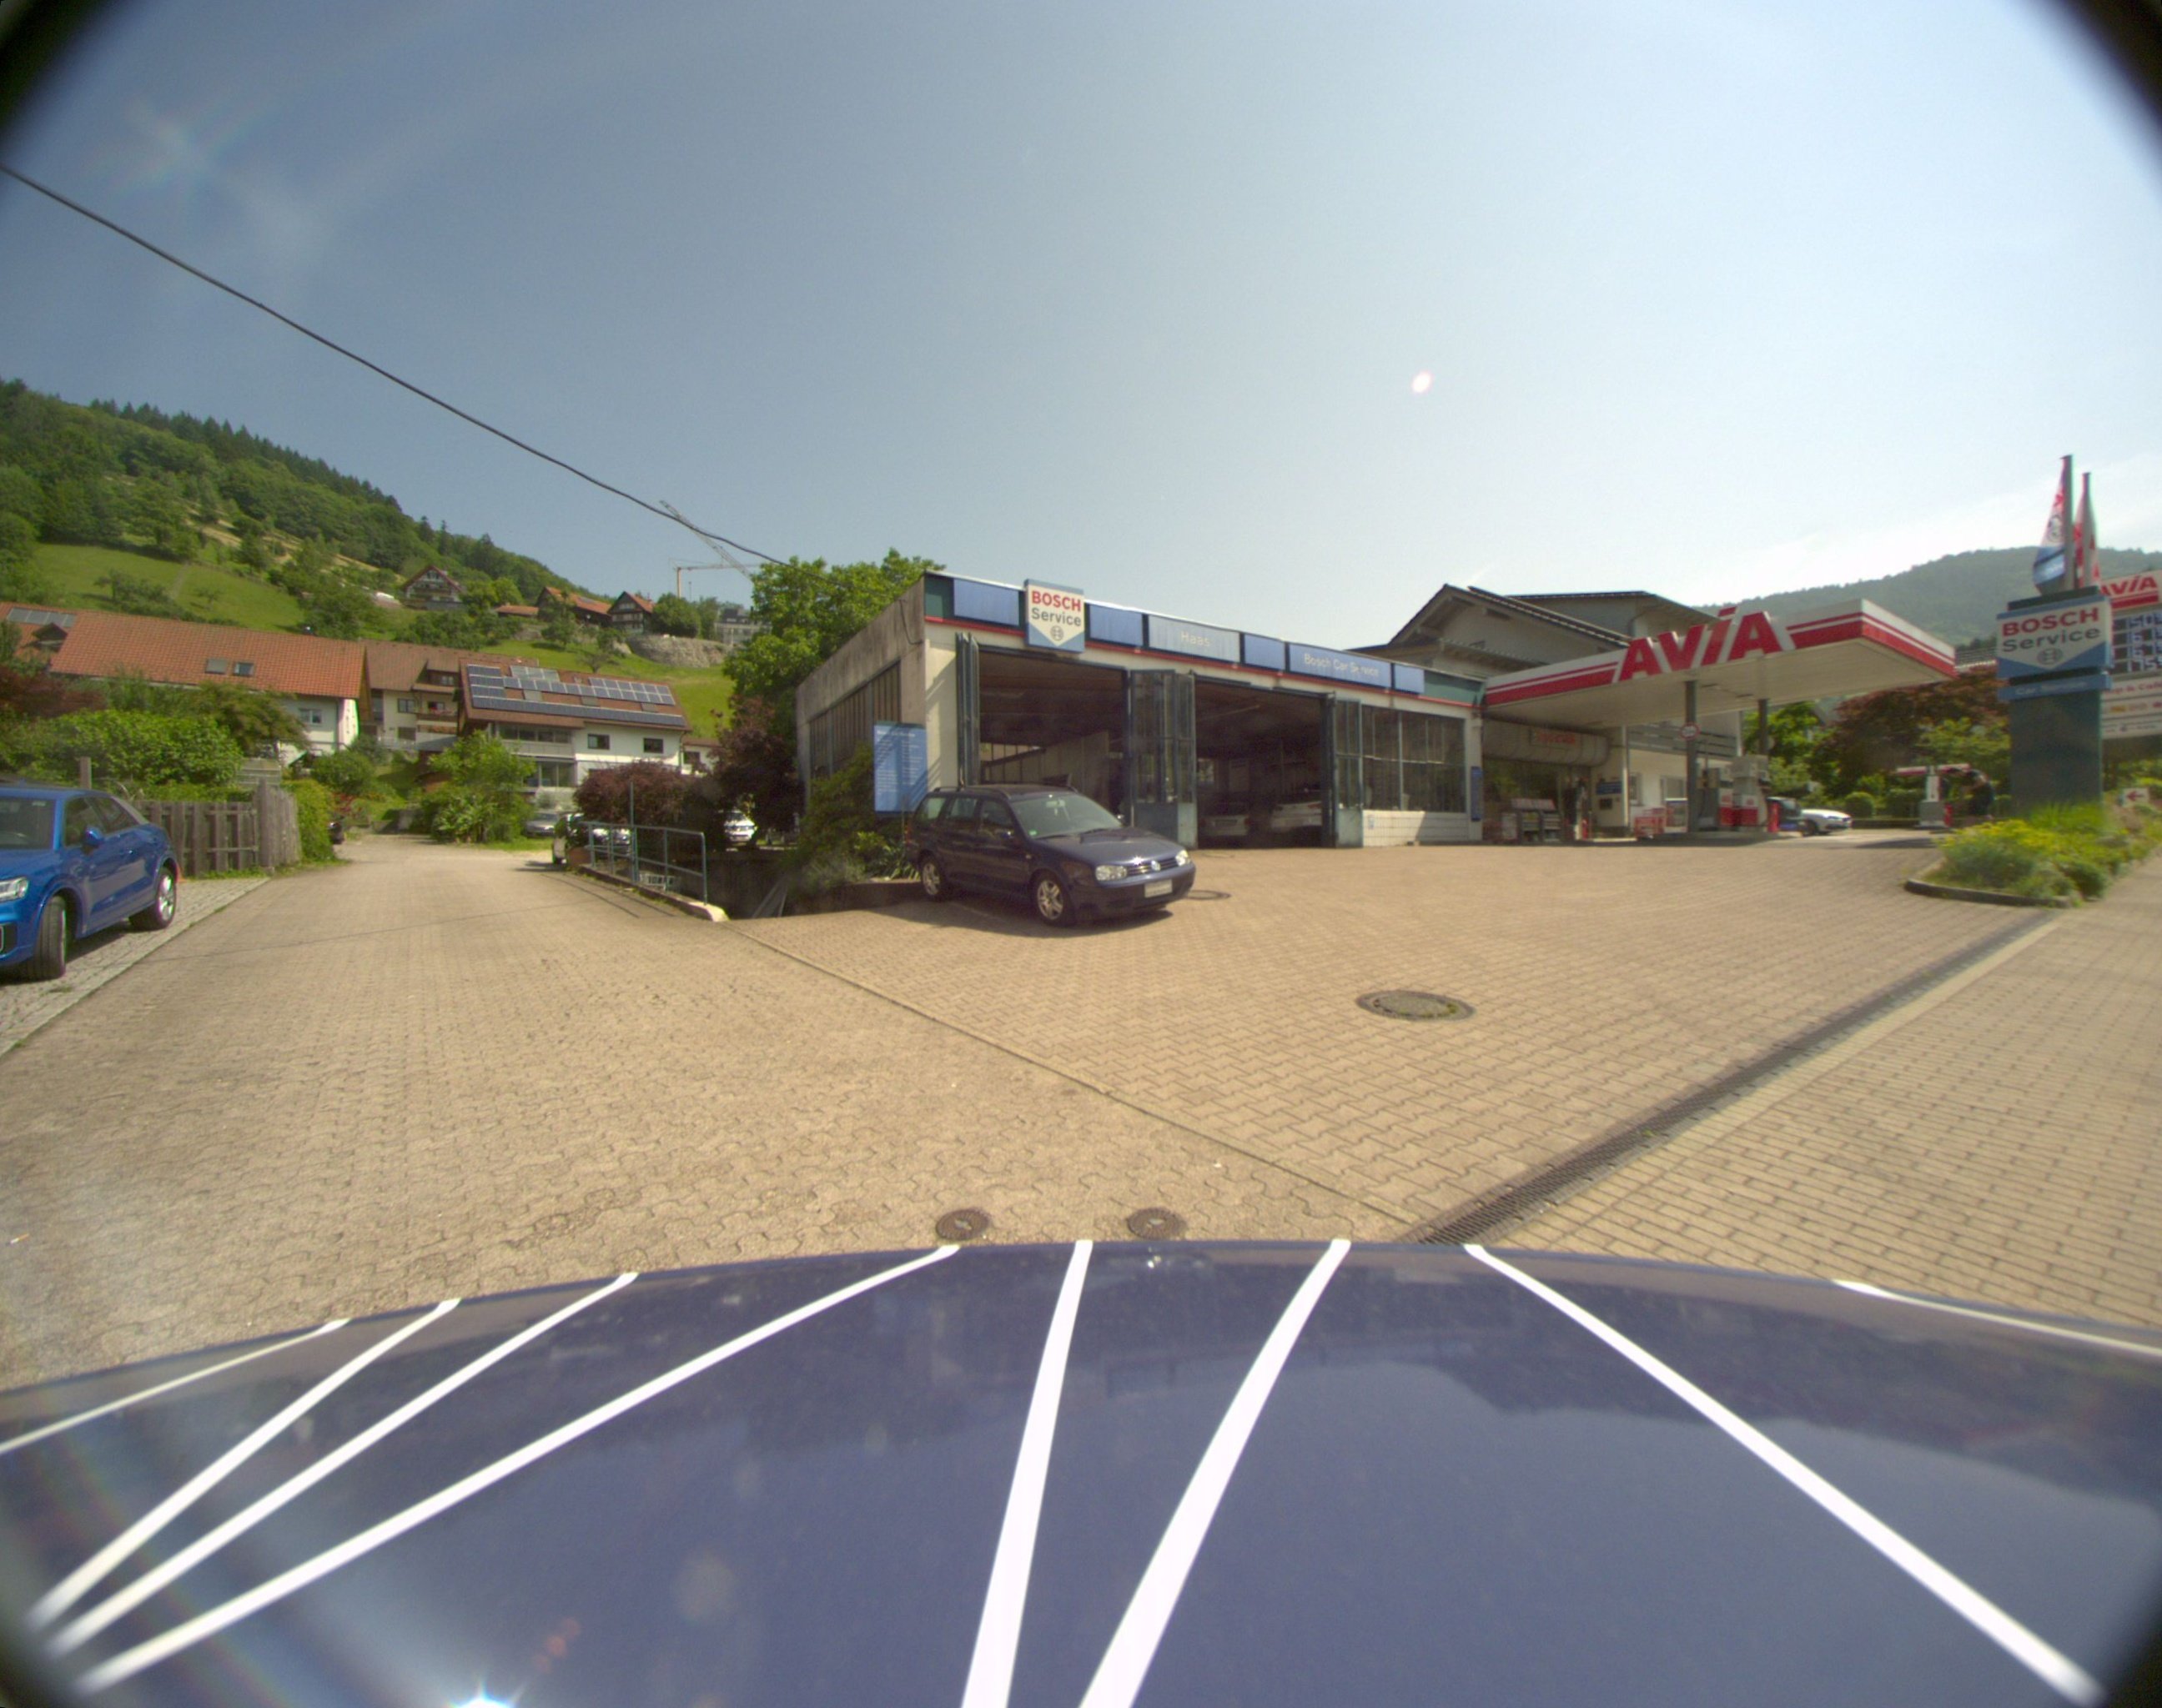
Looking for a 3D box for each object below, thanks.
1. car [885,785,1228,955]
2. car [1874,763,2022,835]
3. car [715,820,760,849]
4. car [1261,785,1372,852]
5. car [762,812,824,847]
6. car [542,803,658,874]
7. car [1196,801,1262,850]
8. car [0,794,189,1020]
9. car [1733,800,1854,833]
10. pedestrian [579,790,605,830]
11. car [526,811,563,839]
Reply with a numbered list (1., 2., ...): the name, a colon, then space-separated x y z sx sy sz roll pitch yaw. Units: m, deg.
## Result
1. car: -0.516 0.005 9.333 1.802 1.537 4.317 -8 8 -41
2. car: 21.576 -1.412 18.884 3.916 1.569 1.692 -5 6 -31
3. car: -16.492 -0.988 36.378 1.470 1.252 3.378 -2 4 -32
4. car: 6.841 -1.082 21.846 1.601 1.680 3.936 3 7 40
5. car: -14.241 -1.253 37.490 1.682 1.547 3.898 -6 7 -38
6. car: -13.251 -0.520 20.784 2.003 1.636 4.862 -6 7 -38
7. car: 4.703 -0.856 23.858 1.545 1.398 3.483 -1 1 19
8. car: -9.586 0.334 6.431 1.738 1.617 3.922 -4 6 -37
9. car: 26.996 -1.449 28.866 1.337 1.139 3.073 -5 6 -33
10. pedestrian: -29.911 -2.696 46.458 0.825 2.419 0.828 1 6 25
11. car: -28.563 -1.566 40.441 1.347 1.364 3.203 -6 7 -37
